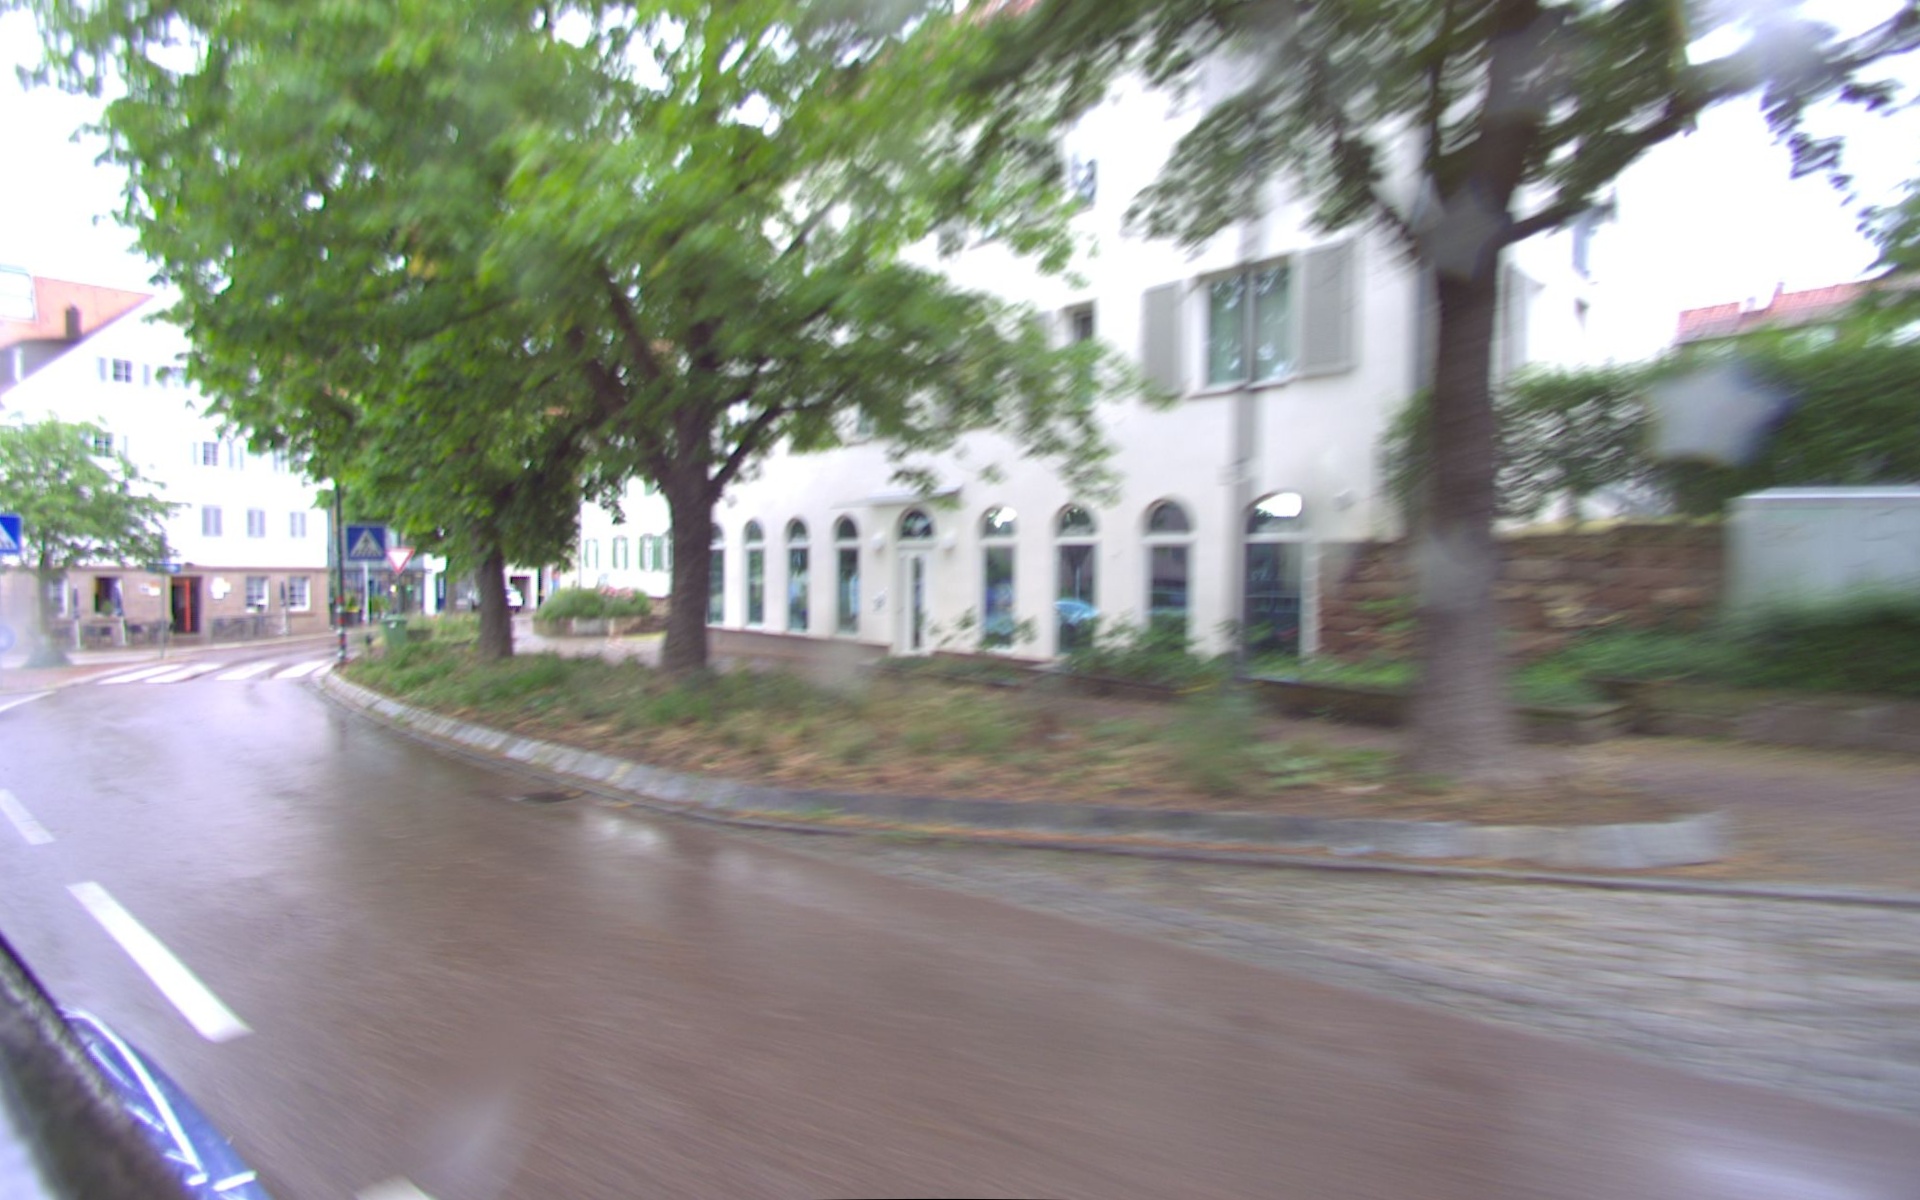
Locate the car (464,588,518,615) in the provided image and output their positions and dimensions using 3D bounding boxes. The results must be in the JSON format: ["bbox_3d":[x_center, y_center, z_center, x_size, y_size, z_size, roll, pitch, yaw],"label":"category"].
[{"bbox_3d":[-28.826,0.078,62.189,1.804,1.634,3.892,0,0,-45],"label":"car"}]

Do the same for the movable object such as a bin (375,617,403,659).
[{"bbox_3d":[-15.298,1.010,27.118,0.625,1.067,0.700,0,0,-28],"label":"movable object such as a bin"}]
